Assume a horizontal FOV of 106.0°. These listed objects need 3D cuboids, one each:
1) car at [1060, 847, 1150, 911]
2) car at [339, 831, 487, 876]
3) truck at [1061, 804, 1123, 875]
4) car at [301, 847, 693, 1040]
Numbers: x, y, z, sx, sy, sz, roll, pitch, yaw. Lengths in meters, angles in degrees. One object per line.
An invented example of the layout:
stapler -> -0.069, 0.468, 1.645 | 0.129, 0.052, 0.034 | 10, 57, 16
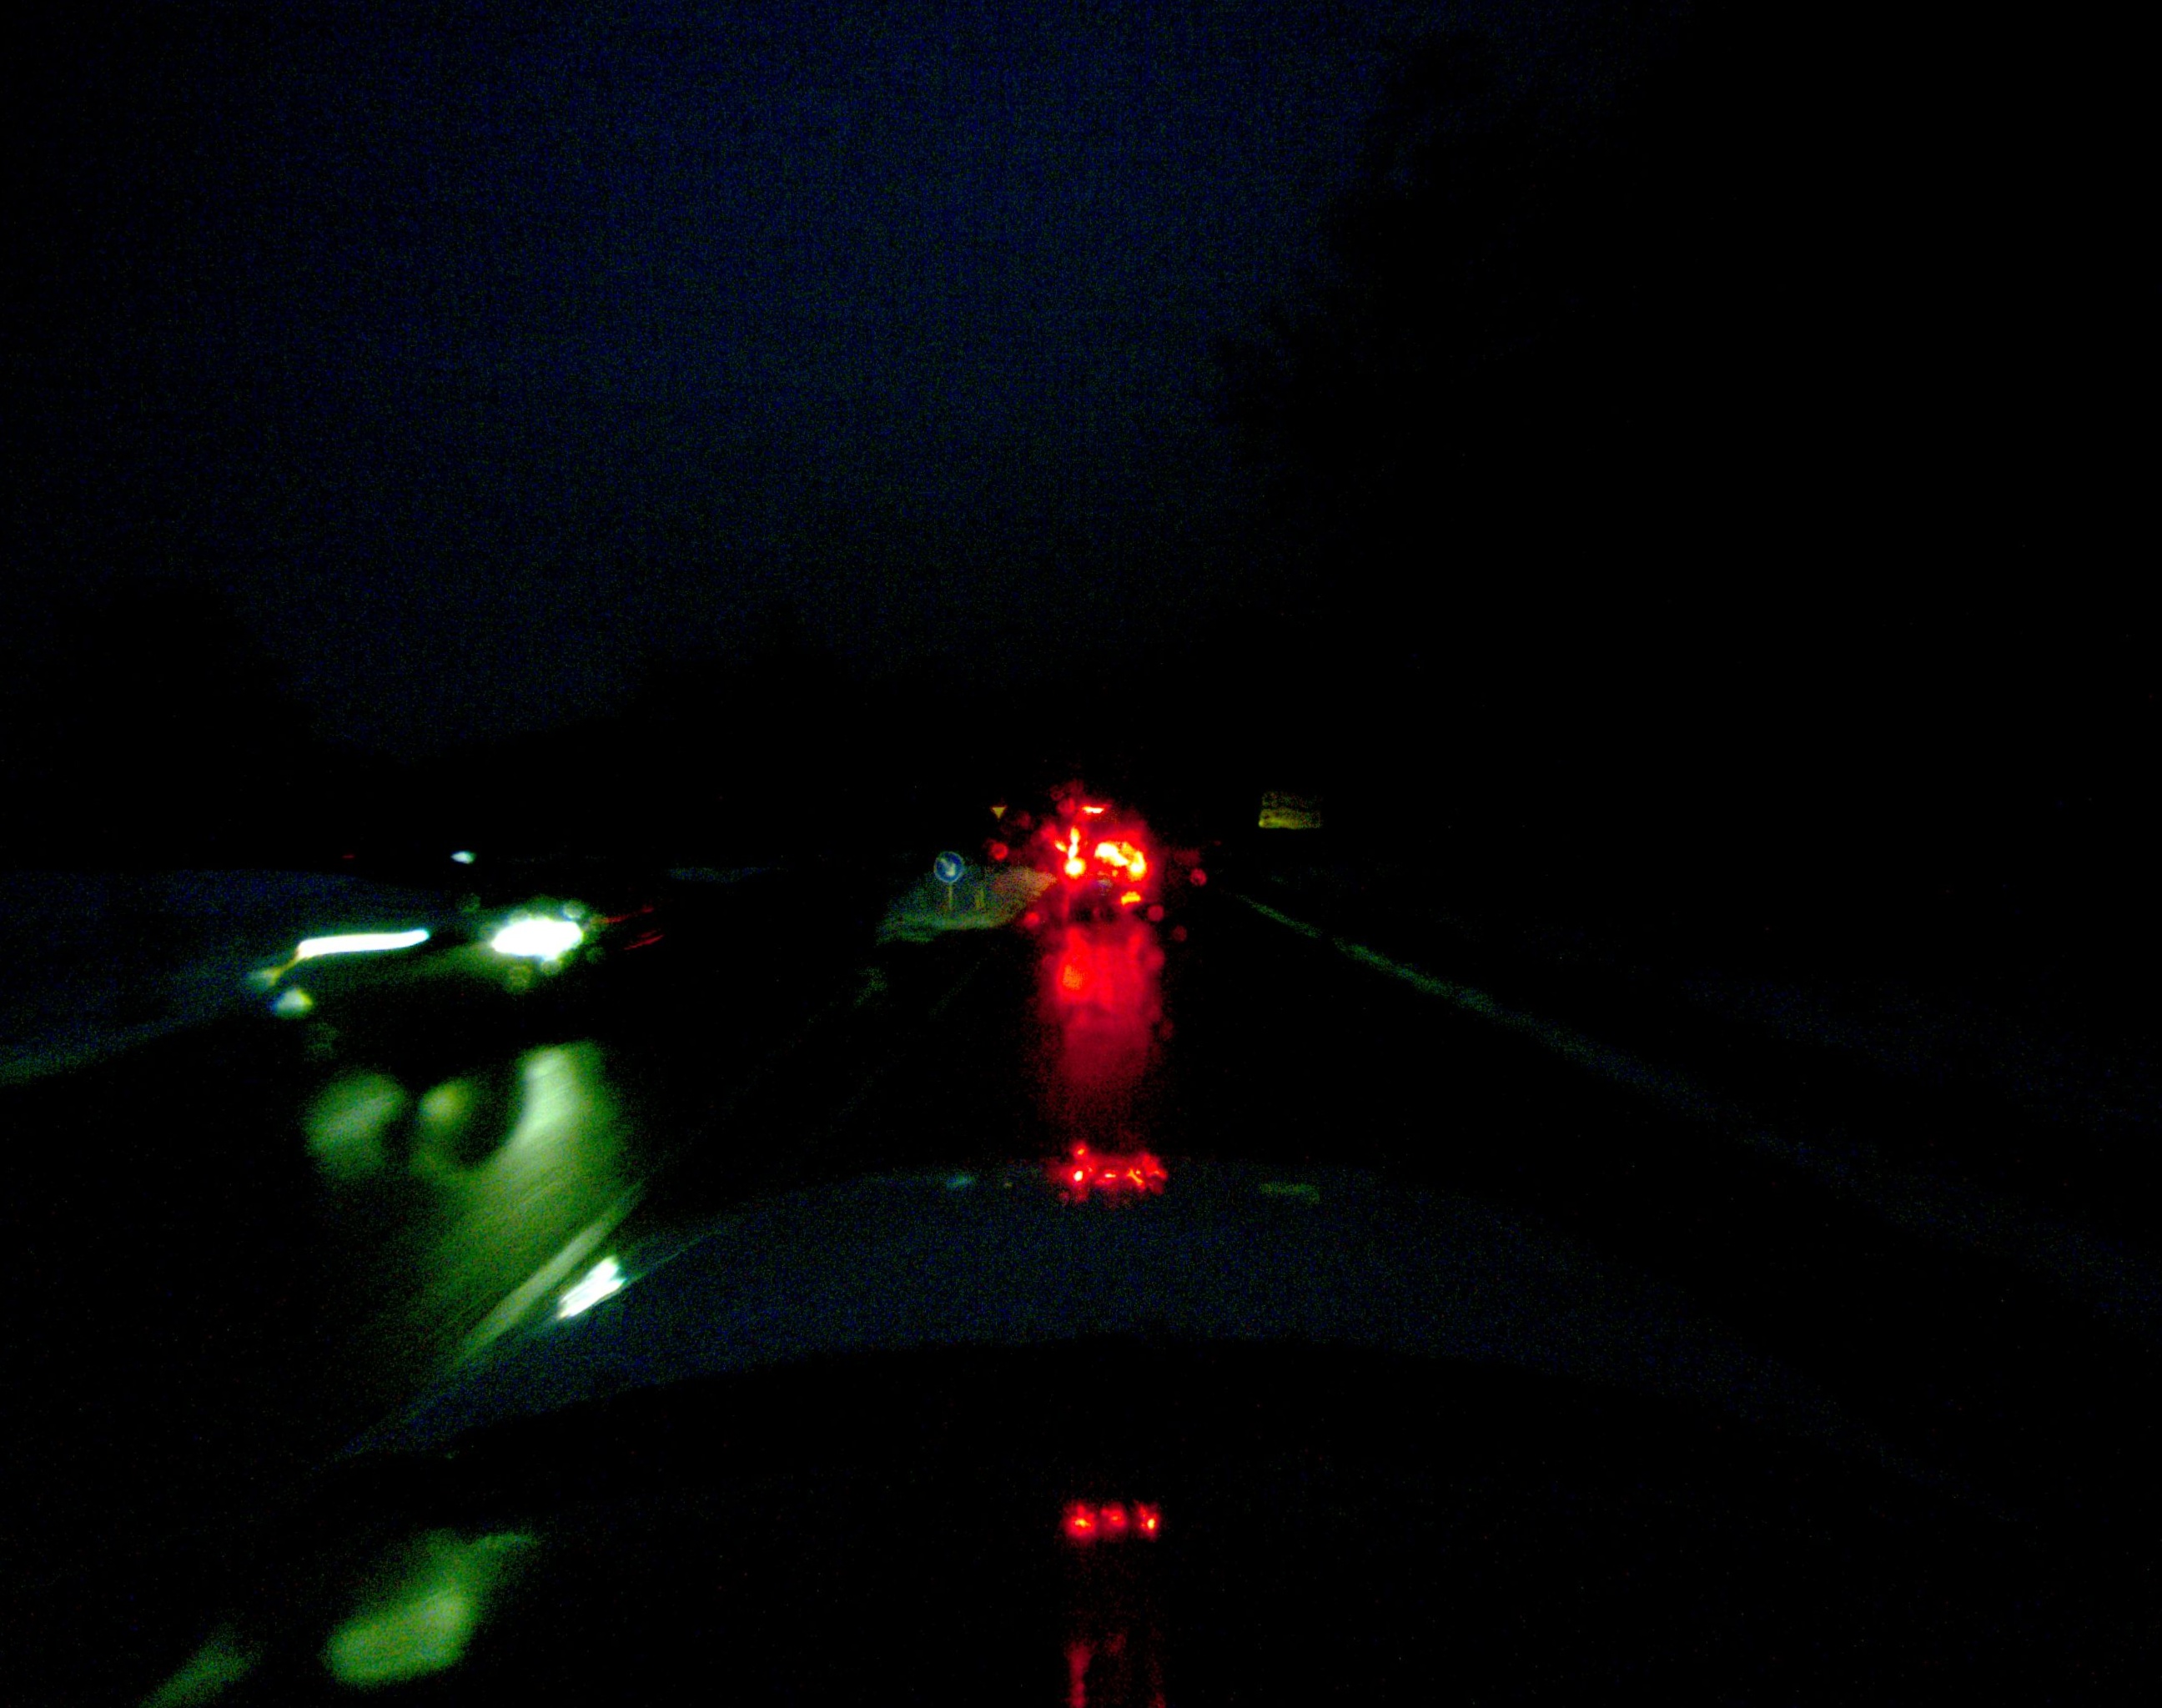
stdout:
car -> 0.537, 0.516, 19.394 | 1.915, 1.276, 4.001 | 1, 2, 1
car -> -30.684, -0.037, 37.539 | 5.005, 1.945, 1.679 | 1, 0, -11
truck -> 0.367, -0.580, 34.580 | 2.072, 2.745, 5.310 | 1, 0, -5
car -> -5.728, 0.702, 8.704 | 1.741, 1.486, 3.992 | -2, 1, -9
